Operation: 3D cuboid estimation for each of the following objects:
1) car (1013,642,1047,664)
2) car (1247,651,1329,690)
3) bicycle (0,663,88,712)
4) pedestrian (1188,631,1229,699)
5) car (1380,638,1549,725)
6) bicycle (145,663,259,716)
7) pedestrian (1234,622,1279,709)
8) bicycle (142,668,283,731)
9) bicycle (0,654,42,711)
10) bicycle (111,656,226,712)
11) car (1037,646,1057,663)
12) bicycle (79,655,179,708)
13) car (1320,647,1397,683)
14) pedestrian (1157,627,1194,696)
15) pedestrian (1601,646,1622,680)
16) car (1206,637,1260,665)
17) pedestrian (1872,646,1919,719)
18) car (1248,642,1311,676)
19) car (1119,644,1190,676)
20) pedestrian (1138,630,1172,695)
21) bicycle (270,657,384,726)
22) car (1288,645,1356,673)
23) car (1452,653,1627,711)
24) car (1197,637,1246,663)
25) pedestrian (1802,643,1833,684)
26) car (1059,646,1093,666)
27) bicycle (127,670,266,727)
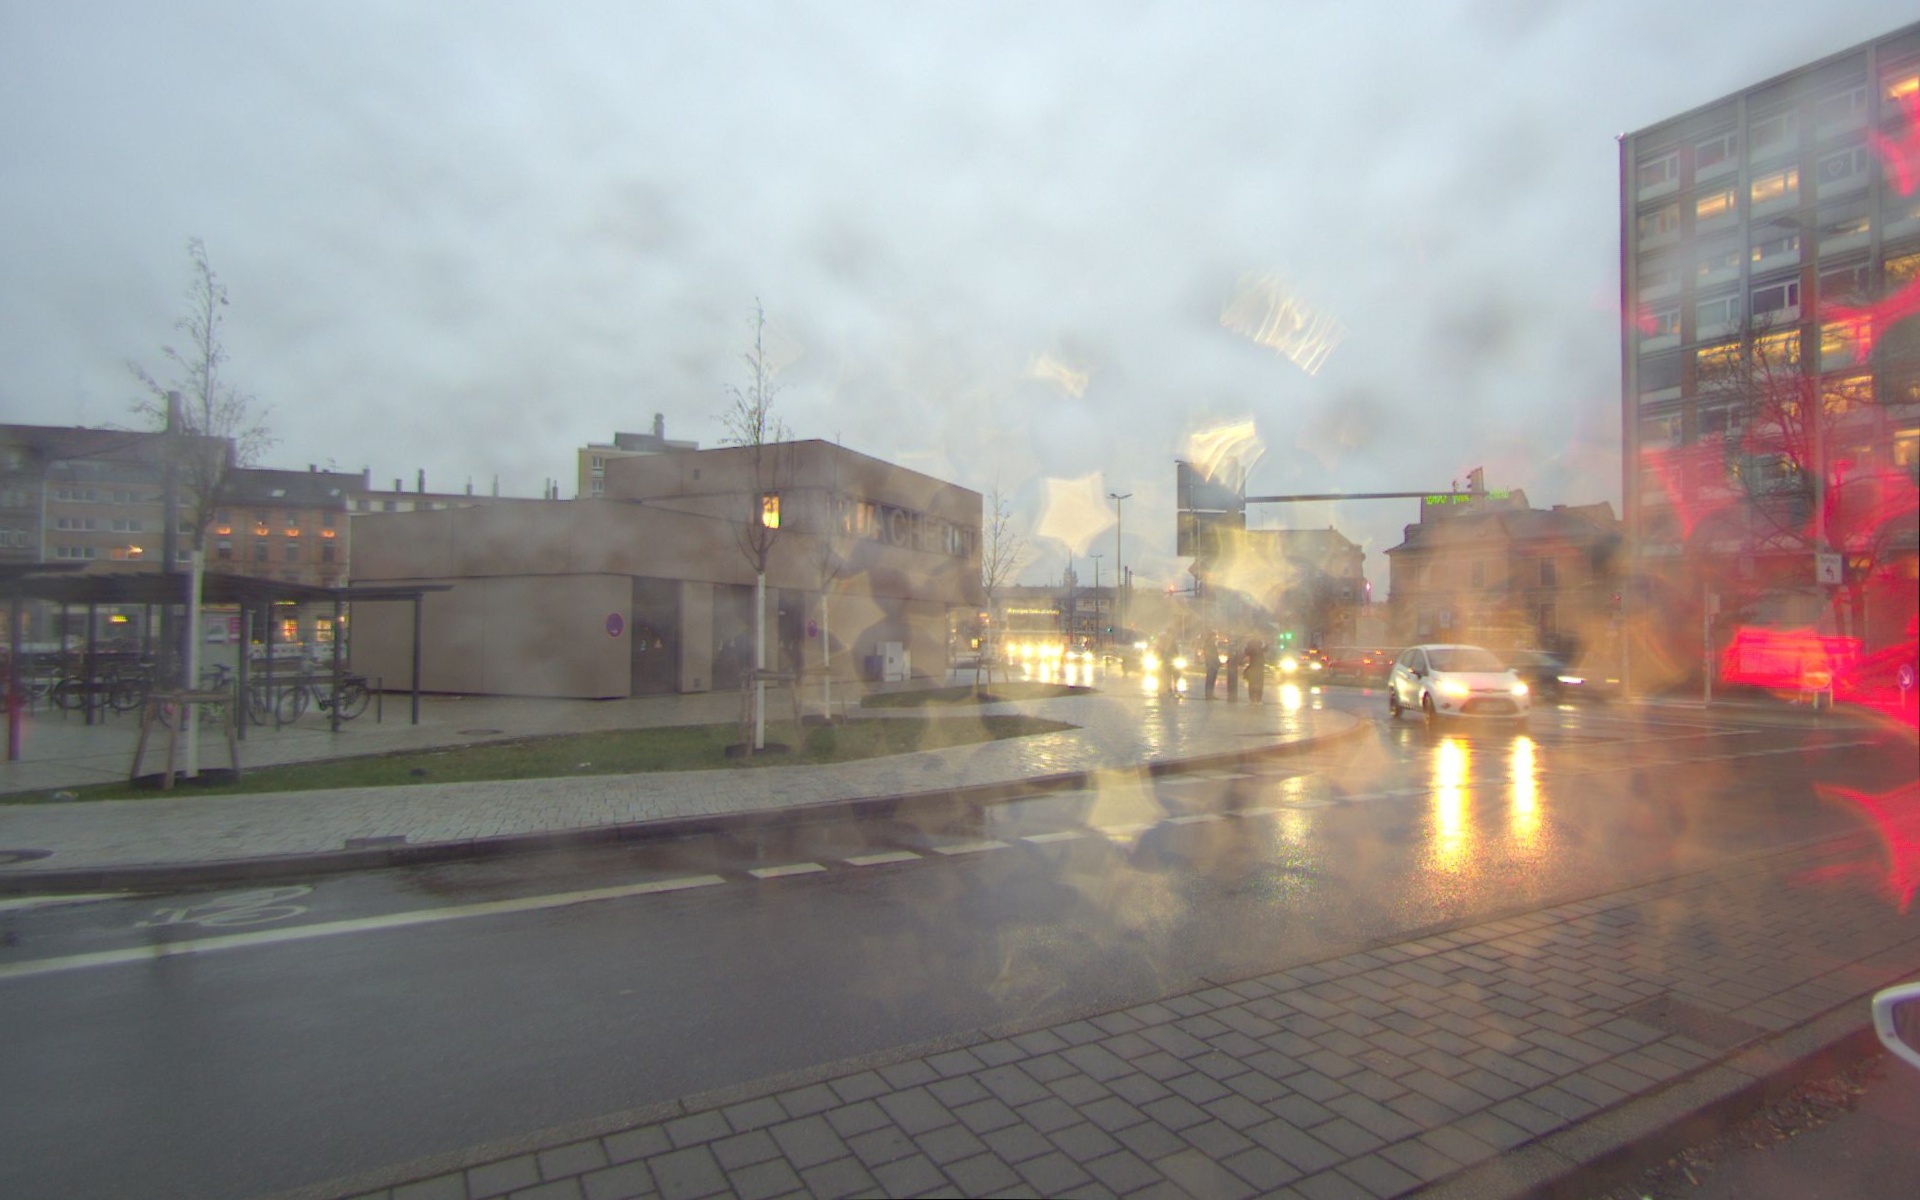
[{"bbox_3d":[5.306,4.041,76.897,1.742,1.598,3.995,0,-2,-8],"label":"car"},{"bbox_3d":[13.879,2.963,42.717,1.778,1.497,3.963,1,-3,-8],"label":"car"},{"bbox_3d":[-18.514,1.733,19.985,0.466,0.903,1.693,1,-2,24],"label":"bicycle"},{"bbox_3d":[6.583,1.705,26.624,0.838,1.778,0.659,0,-2,-14],"label":"pedestrian"},{"bbox_3d":[9.405,1.529,19.069,1.710,1.467,3.718,-1,-4,8],"label":"car"},{"bbox_3d":[-15.185,1.779,20.170,0.466,0.968,1.767,1,-2,29],"label":"bicycle"},{"bbox_3d":[7.194,1.578,24.380,0.971,2.047,0.802,-1,-2,19],"label":"pedestrian"},{"bbox_3d":[-12.941,1.703,17.455,0.466,0.989,1.923,1,-2,29],"label":"bicycle"},{"bbox_3d":[-19.399,1.633,19.834,0.466,1.122,1.797,1,-2,29],"label":"bicycle"},{"bbox_3d":[-16.535,1.736,21.035,0.466,1.087,1.830,1,-2,26],"label":"bicycle"},{"bbox_3d":[8.462,5.285,97.709,1.688,1.616,3.792,-1,-2,2],"label":"car"},{"bbox_3d":[-17.692,1.711,21.428,0.511,1.050,1.573,1,-2,19],"label":"bicycle"},{"bbox_3d":[20.490,3.308,51.814,1.795,1.589,3.991,2,0,-11],"label":"car"},{"bbox_3d":[5.920,1.681,27.652,0.671,1.863,0.726,1,-3,-42],"label":"pedestrian"},{"bbox_3d":[33.615,3.254,51.811,0.626,1.710,0.640,0,-2,-13],"label":"pedestrian"},{"bbox_3d":[19.614,3.651,72.350,3.514,1.850,1.672,2,0,8],"label":"car"},{"bbox_3d":[26.505,2.301,28.170,0.942,2.004,0.930,0,-2,-6],"label":"pedestrian"},{"bbox_3d":[17.634,3.240,55.621,1.793,1.589,3.995,2,0,-8],"label":"car"},{"bbox_3d":[9.498,2.926,49.467,1.780,1.496,4.582,1,-3,-13],"label":"car"},{"bbox_3d":[5.459,1.739,28.171,0.544,1.793,0.734,1,-3,-43],"label":"pedestrian"},{"bbox_3d":[-11.755,1.676,18.715,0.605,1.172,1.755,1,-2,20],"label":"bicycle"},{"bbox_3d":[20.895,3.405,58.074,3.364,1.481,1.515,2,0,-1],"label":"car"},{"bbox_3d":[16.589,2.301,29.072,1.779,1.496,4.583,1,-3,-12],"label":"car"},{"bbox_3d":[19.384,3.718,74.495,3.321,1.724,1.526,2,0,8],"label":"car"},{"bbox_3d":[35.324,2.603,41.365,0.548,1.649,0.760,0,-2,-15],"label":"pedestrian"},{"bbox_3d":[8.964,4.342,78.213,1.777,1.496,4.670,1,-3,-4],"label":"car"},{"bbox_3d":[-13.591,1.738,17.947,0.466,0.903,1.923,1,-2,29],"label":"bicycle"}]
